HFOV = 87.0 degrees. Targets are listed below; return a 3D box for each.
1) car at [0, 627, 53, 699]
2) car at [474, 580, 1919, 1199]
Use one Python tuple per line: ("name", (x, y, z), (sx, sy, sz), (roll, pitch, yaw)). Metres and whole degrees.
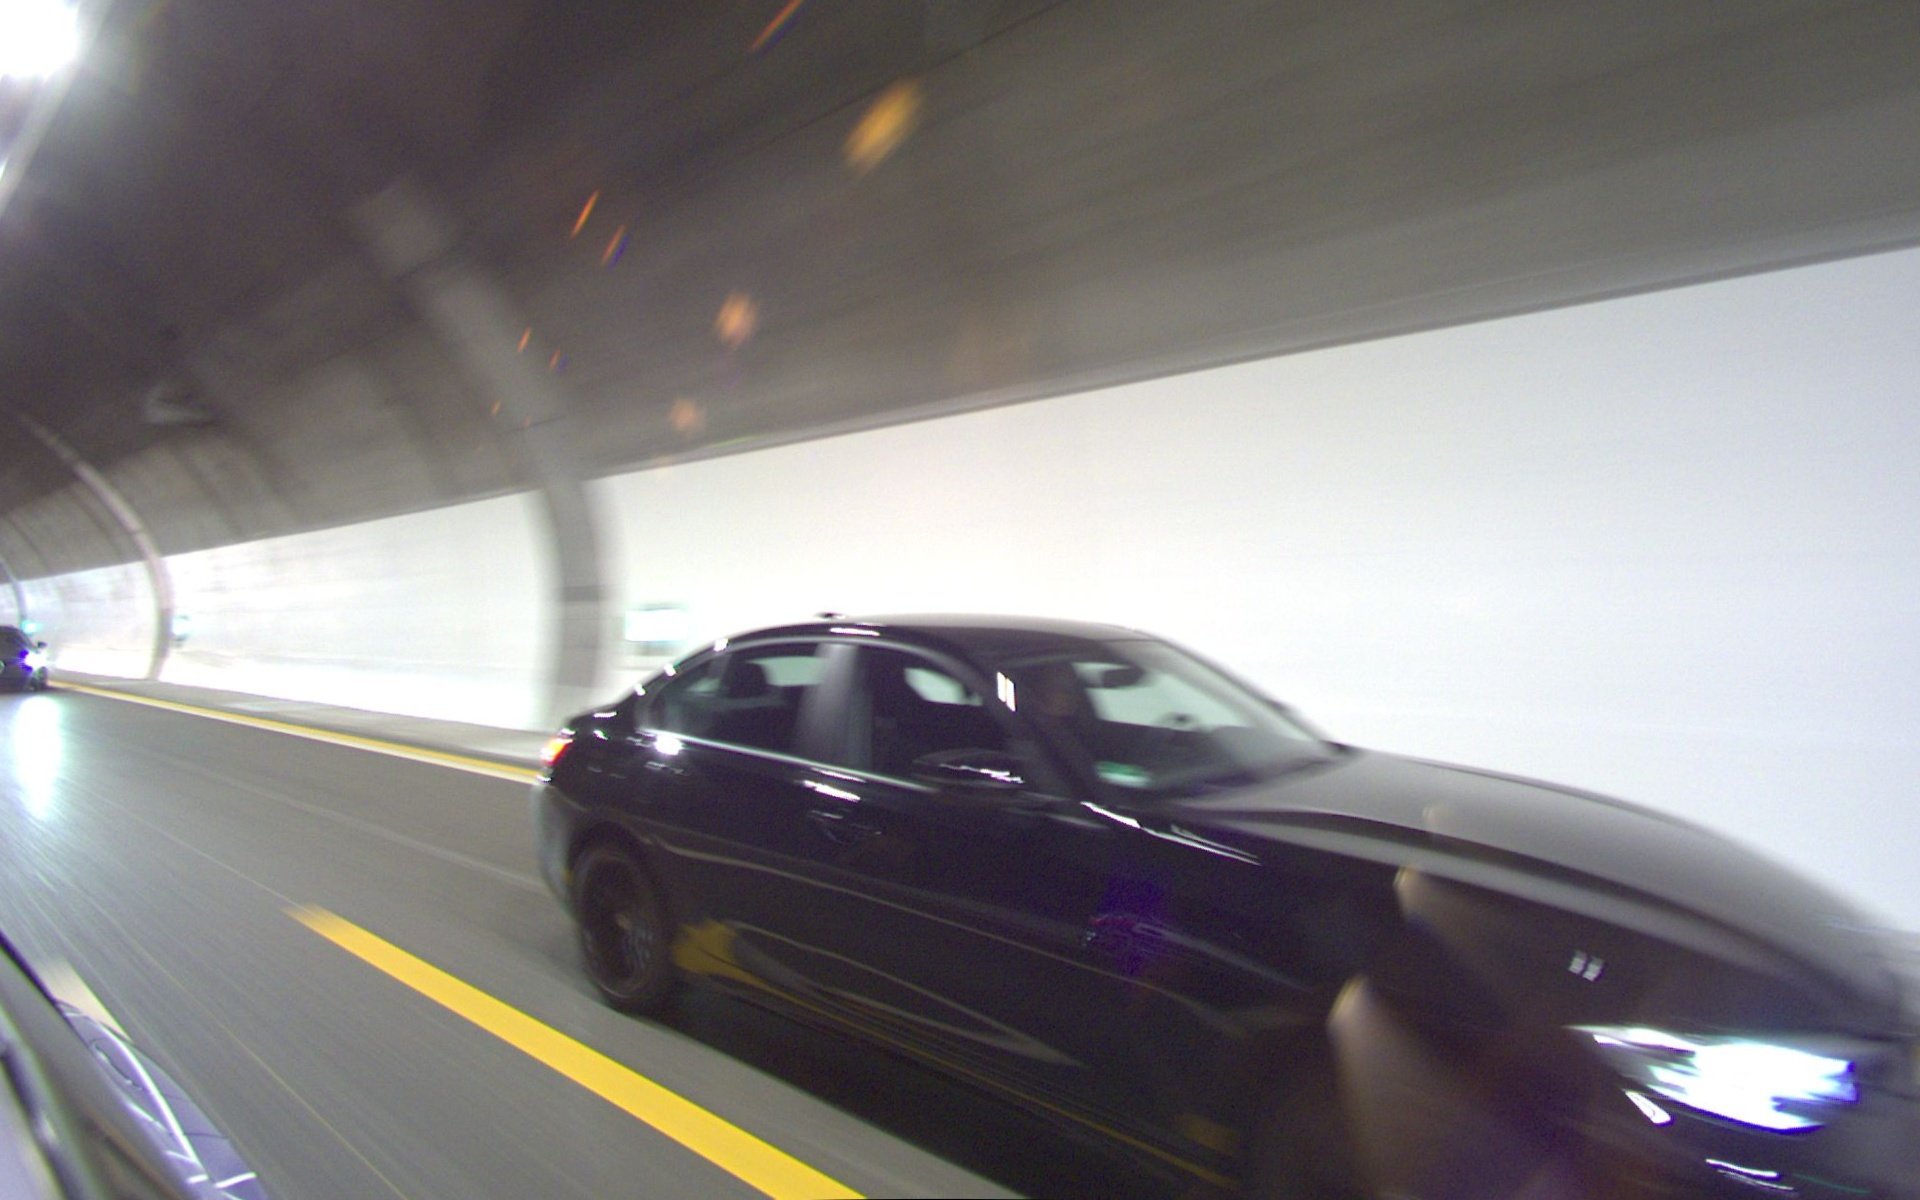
("car", (-21.789, 1.367, 22.410), (4.876, 1.449, 1.761), (-2, -1, 39))
("car", (0.355, 0.737, 3.321), (4.881, 1.449, 1.759), (-2, -1, 42))
